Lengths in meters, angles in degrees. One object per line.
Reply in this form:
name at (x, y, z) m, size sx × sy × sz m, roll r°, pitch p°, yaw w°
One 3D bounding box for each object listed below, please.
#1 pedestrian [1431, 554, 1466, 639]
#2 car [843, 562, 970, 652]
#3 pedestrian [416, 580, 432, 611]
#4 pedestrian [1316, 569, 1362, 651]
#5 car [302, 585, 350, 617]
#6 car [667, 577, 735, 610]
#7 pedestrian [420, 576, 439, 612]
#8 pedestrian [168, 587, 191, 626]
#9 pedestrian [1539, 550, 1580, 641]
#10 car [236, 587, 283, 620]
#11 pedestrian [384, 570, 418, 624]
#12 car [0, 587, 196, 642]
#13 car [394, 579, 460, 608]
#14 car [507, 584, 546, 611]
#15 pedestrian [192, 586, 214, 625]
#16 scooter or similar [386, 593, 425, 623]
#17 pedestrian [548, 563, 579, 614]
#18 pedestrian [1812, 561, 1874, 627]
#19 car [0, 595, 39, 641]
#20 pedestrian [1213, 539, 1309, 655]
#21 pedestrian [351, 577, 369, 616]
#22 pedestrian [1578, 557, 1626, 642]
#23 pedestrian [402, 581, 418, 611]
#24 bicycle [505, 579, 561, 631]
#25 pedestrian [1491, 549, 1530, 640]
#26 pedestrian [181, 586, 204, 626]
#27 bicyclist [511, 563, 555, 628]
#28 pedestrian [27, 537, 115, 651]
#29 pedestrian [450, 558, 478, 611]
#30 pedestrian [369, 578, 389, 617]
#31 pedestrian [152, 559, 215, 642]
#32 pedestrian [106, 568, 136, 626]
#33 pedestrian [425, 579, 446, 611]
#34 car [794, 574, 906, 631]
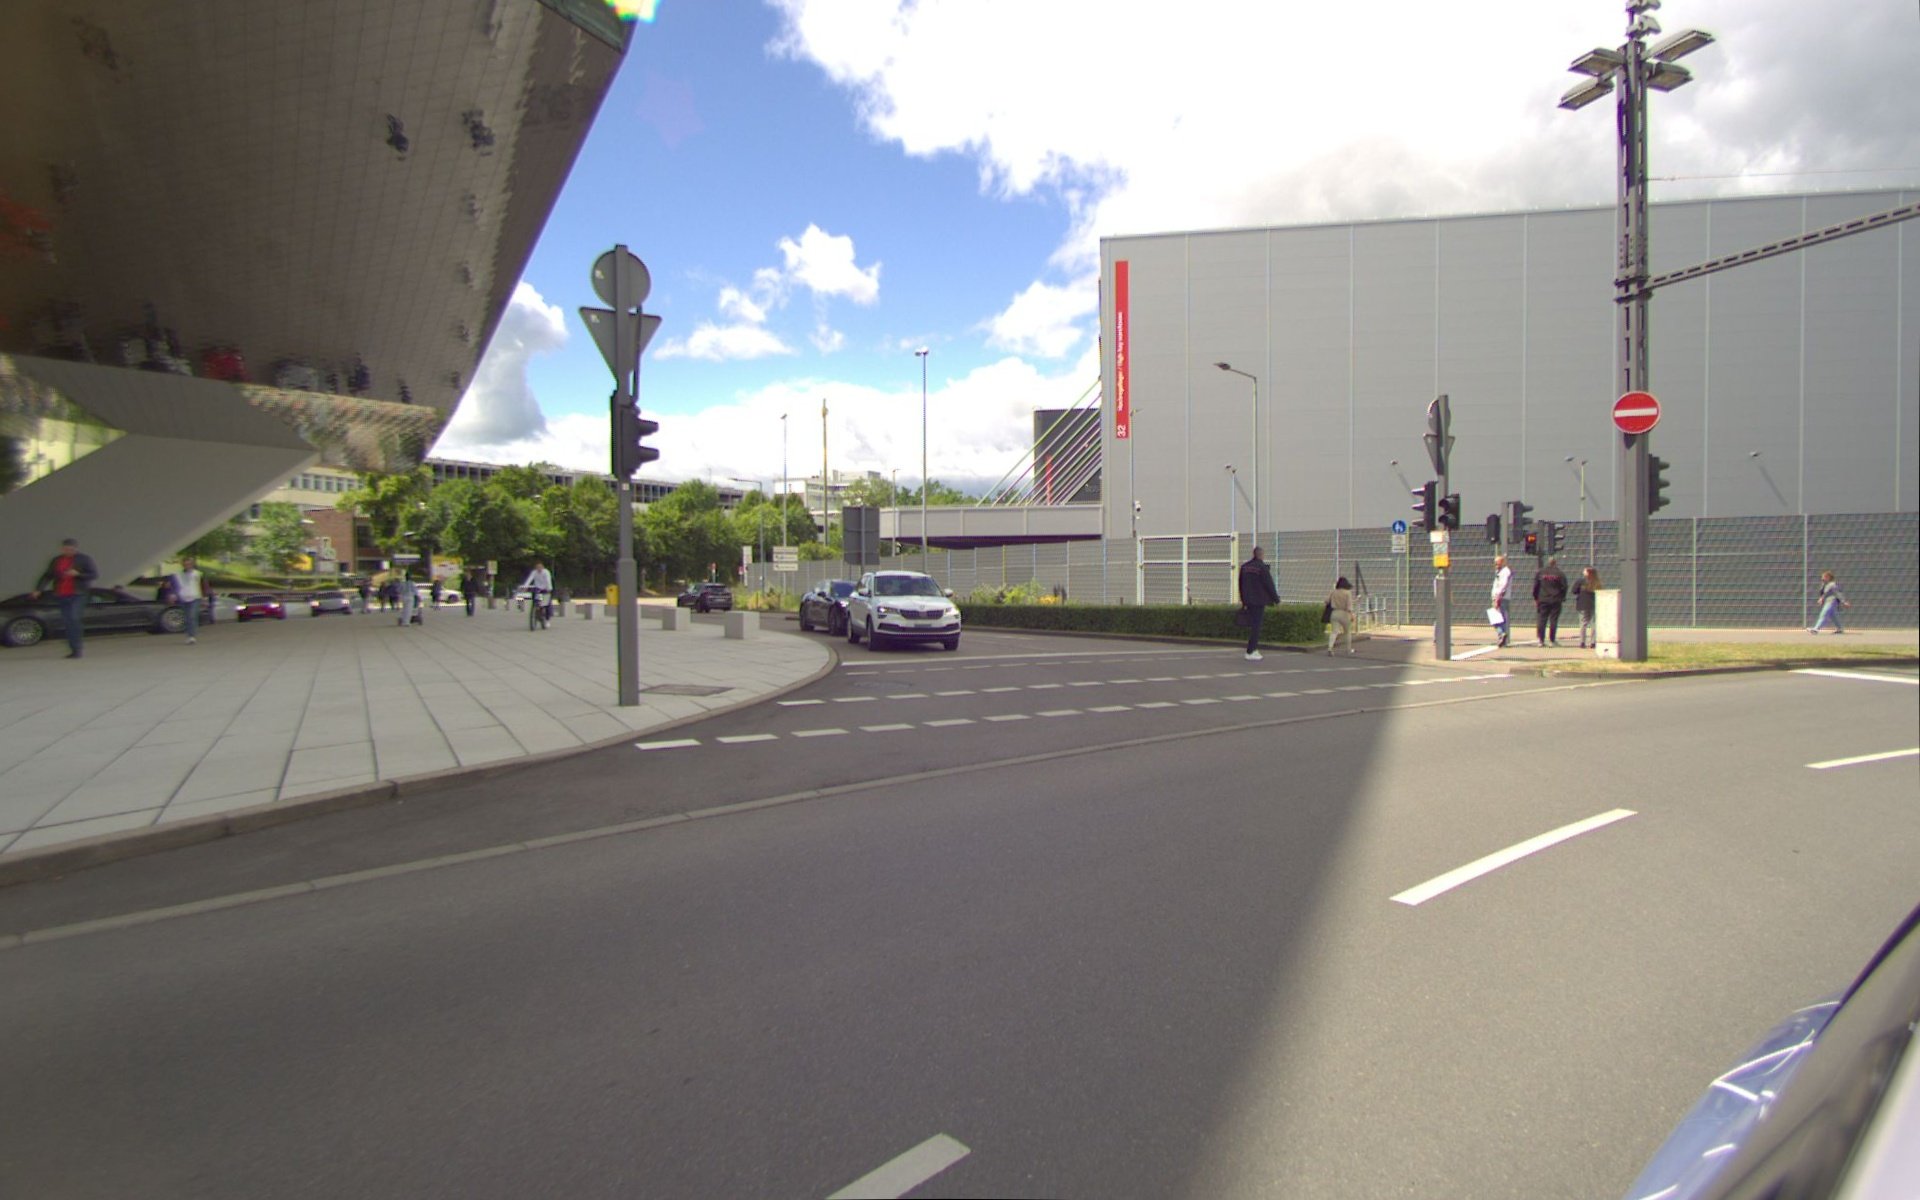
pedestrian at (10.459, -0.069, 21.687) m, size 0.613 × 1.781 × 0.602 m, roll -2°, pitch 0°, yaw 25°
car at (-1.198, 0.043, 20.777) m, size 1.800 × 1.568 × 4.010 m, roll -2°, pitch 3°, yaw -14°
pedestrian at (-36.620, -0.298, 69.145) m, size 0.763 × 2.039 × 0.827 m, roll -2°, pitch 0°, yaw -39°
pedestrian at (7.217, 0.176, 19.266) m, size 0.580 × 1.515 × 0.761 m, roll -2°, pitch 0°, yaw 37°
car at (-33.841, 0.076, 53.976) m, size 1.853 × 1.574 × 3.999 m, roll -2°, pitch 1°, yaw -36°
car at (-14.382, -0.350, 56.085) m, size 1.967 × 1.724 × 3.990 m, roll -3°, pitch 1°, yaw -43°
pedestrian at (-30.285, -0.356, 57.750) m, size 0.763 × 2.039 × 0.827 m, roll -2°, pitch 0°, yaw -39°
pedestrian at (-35.709, 0.296, 46.292) m, size 0.762 × 1.760 × 0.827 m, roll -2°, pitch 0°, yaw -37°
pedestrian at (12.277, -0.096, 20.750) m, size 0.614 × 1.817 × 0.667 m, roll -2°, pitch 0°, yaw 26°
car at (-35.449, 0.178, 51.170) m, size 1.853 × 1.574 × 3.999 m, roll -2°, pitch 1°, yaw -36°
pedestrian at (-16.601, -0.098, 30.054) m, size 0.787 × 1.560 × 0.788 m, roll -2°, pitch 0°, yaw -25°
car at (-23.290, 0.366, 26.700) m, size 1.988 × 1.236 × 4.619 m, roll -2°, pitch 1°, yaw 36°
car at (-40.619, -0.521, 77.192) m, size 4.134 × 2.039 × 1.999 m, roll -3°, pitch 1°, yaw -37°
car at (-27.678, -0.154, 64.573) m, size 1.849 × 1.663 × 4.004 m, roll -2°, pitch 1°, yaw -29°
pedestrian at (-34.964, 0.262, 46.759) m, size 0.762 × 1.760 × 0.827 m, roll -2°, pitch 0°, yaw -36°
scooter or similar at (-16.875, 0.242, 30.820) m, size 0.930 × 0.850 × 1.115 m, roll -2°, pitch 1°, yaw -25°
pedestrian at (-16.180, -0.488, 41.342) m, size 0.816 × 2.039 × 0.773 m, roll -2°, pitch 0°, yaw 18°
pedestrian at (22.221, -0.147, 25.477) m, size 0.906 × 1.606 × 0.693 m, roll -2°, pitch 0°, yaw 12°
car at (-34.039, 0.658, 34.397) m, size 1.960 × 1.568 × 4.004 m, roll -2°, pitch 1°, yaw -4°
pedestrian at (5.359, -0.050, 18.088) m, size 1.354 × 2.010 × 0.957 m, roll 0°, pitch 0°, yaw -5°
pedestrian at (-31.956, -0.193, 53.871) m, size 0.761 × 2.039 × 0.828 m, roll -2°, pitch 0°, yaw -31°
pedestrian at (12.911, -0.016, 20.346) m, size 0.670 × 1.658 × 0.611 m, roll -2°, pitch 0°, yaw 43°
pedestrian at (-37.799, -0.262, 69.547) m, size 0.763 × 2.039 × 0.827 m, roll -2°, pitch 0°, yaw -39°
bicycle at (-11.323, 0.114, 26.917) m, size 0.765 × 1.289 × 1.928 m, roll -2°, pitch 1°, yaw -4°
pedestrian at (11.464, -0.118, 21.097) m, size 0.613 × 1.870 × 0.667 m, roll -2°, pitch 0°, yaw 24°
pedestrian at (-34.228, 0.260, 45.113) m, size 0.763 × 1.760 × 0.827 m, roll -2°, pitch 0°, yaw -39°
bicyclist at (-11.315, -0.121, 26.842) m, size 0.757 × 1.674 × 0.938 m, roll -2°, pitch 0°, yaw -4°
pedestrian at (-14.941, -0.107, 17.037) m, size 0.905 × 1.849 × 0.831 m, roll -2°, pitch 0°, yaw -30°
pedestrian at (-19.401, -0.603, 39.583) m, size 0.763 × 2.039 × 0.827 m, roll -2°, pitch 0°, yaw -39°
pedestrian at (-31.328, -0.128, 54.560) m, size 0.763 × 2.039 × 0.827 m, roll -2°, pitch 0°, yaw -39°
pedestrian at (-16.372, -0.001, 21.354) m, size 0.905 × 1.697 × 0.831 m, roll -2°, pitch 0°, yaw -30°
pedestrian at (-30.280, -0.116, 36.535) m, size 0.763 × 2.039 × 0.827 m, roll -2°, pitch 0°, yaw -39°
pedestrian at (-33.797, -0.312, 65.224) m, size 0.766 × 2.039 × 0.824 m, roll -2°, pitch 0°, yaw 15°
car at (-3.028, 0.042, 26.982) m, size 1.800 × 1.401 × 4.166 m, roll 0°, pitch 0°, yaw -24°
